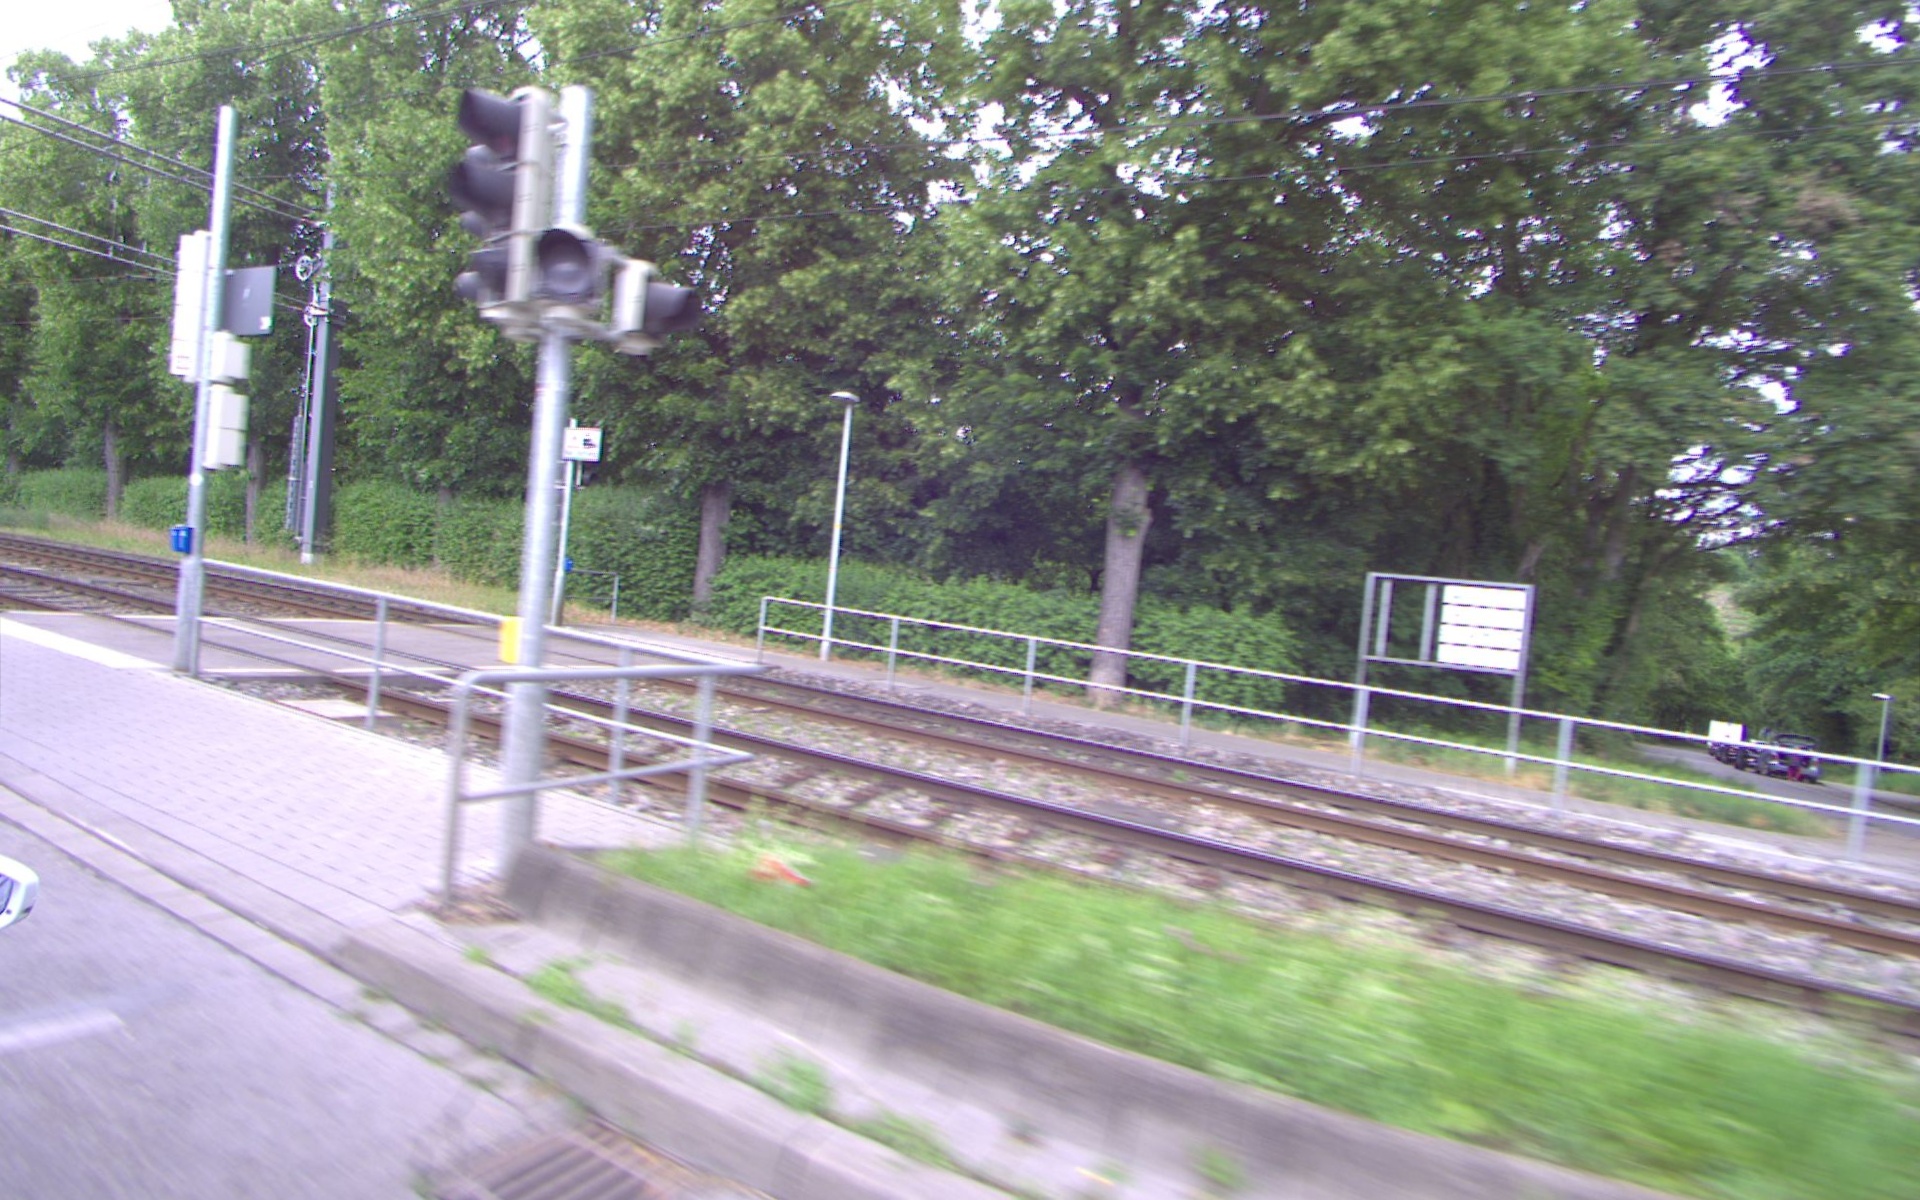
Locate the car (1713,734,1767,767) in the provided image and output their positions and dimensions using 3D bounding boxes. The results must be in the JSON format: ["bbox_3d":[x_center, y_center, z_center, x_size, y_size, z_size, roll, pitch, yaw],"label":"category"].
[{"bbox_3d":[46.723,8.992,60.316,1.769,1.528,3.997,7,-2,29],"label":"car"}]

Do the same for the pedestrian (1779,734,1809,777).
[{"bbox_3d":[35.576,6.636,42.907,0.713,1.687,0.646,7,0,29],"label":"pedestrian"}]

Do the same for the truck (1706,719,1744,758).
[{"bbox_3d":[68.818,12.439,90.576,2.380,2.973,7.244,7,-2,37],"label":"truck"}]

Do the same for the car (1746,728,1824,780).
[{"bbox_3d":[36.371,6.740,44.470,1.773,1.849,3.997,7,-2,29],"label":"car"}]
